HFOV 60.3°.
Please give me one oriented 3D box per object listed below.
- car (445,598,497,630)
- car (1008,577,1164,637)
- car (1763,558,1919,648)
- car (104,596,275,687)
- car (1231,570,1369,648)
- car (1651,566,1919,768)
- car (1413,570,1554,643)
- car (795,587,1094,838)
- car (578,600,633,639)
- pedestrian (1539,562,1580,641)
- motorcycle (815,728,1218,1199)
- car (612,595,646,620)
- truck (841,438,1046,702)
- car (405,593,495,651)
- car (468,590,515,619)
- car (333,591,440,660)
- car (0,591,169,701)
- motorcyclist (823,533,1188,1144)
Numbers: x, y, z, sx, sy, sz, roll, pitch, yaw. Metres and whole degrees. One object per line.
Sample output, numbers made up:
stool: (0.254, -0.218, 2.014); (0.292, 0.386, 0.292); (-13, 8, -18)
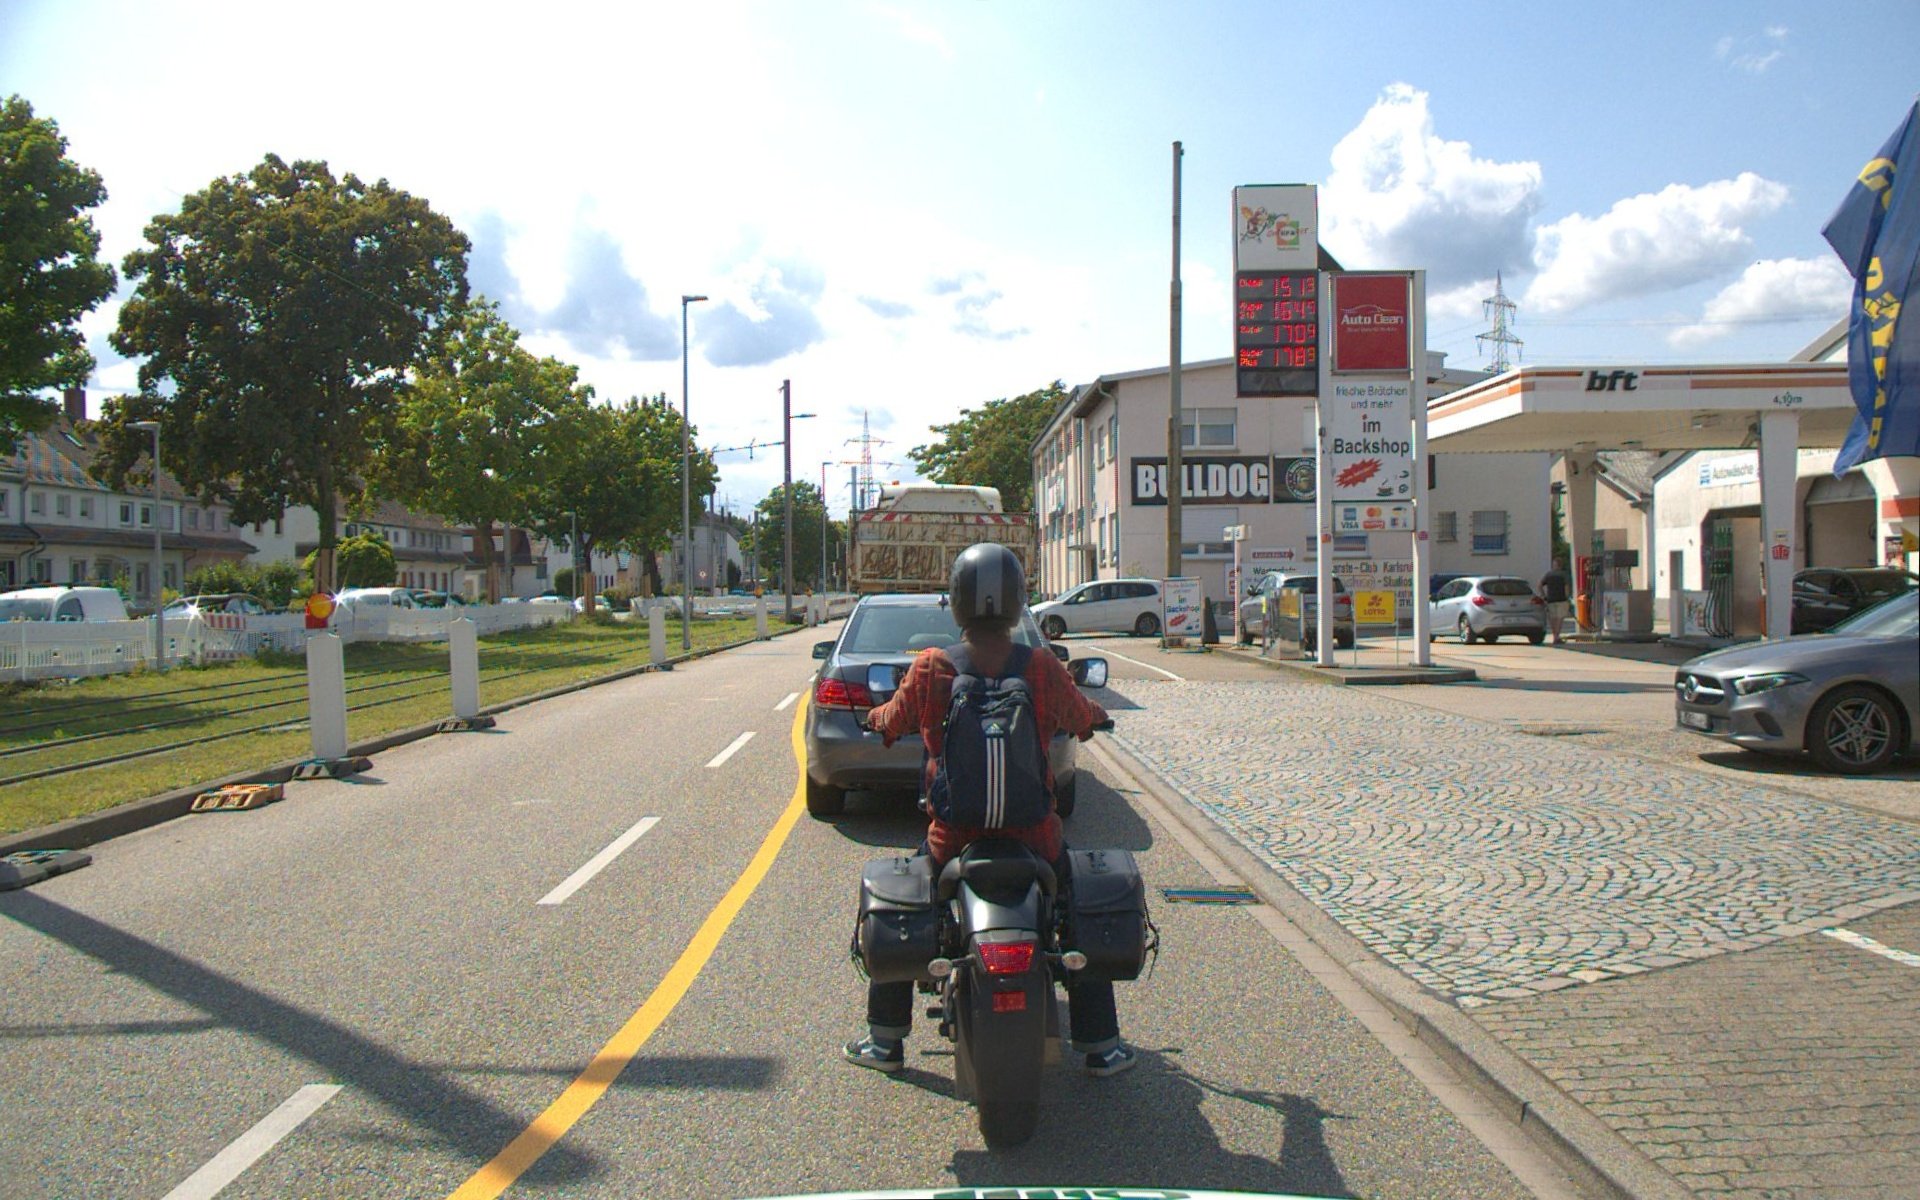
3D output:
car: (-28.303, 0.778, 95.834); (1.740, 1.753, 4.127); (-1, 0, -1)
car: (3.560, 0.185, 47.059); (4.152, 1.570, 1.669); (-1, 0, -9)
car: (16.614, 0.025, 30.321); (1.770, 1.529, 3.832); (-1, 0, -3)
car: (-16.677, 0.852, 36.026); (1.740, 1.805, 4.227); (-1, 0, -1)
car: (7.453, 0.176, 36.631); (1.636, 1.589, 4.236); (-1, 0, -8)
car: (7.794, 0.454, 12.792); (4.183, 1.440, 1.675); (-1, 0, 3)
car: (11.718, 0.120, 37.266); (1.770, 1.529, 3.831); (-1, 0, -3)
car: (-0.122, 0.667, 11.998); (1.786, 1.478, 3.999); (1, 0, -1)
car: (-17.059, 0.909, 79.685); (1.740, 1.753, 4.127); (-1, 0, -1)
pedestrian: (12.949, 0.031, 35.712); (0.696, 1.685, 0.546); (-1, 0, 35)
motorcycle: (0.119, 0.993, 5.323); (0.959, 0.913, 2.653); (-1, 0, -1)
car: (-24.968, 0.549, 124.852); (1.740, 1.753, 4.127); (-1, 0, -1)
truck: (-0.267, -0.425, 25.365); (2.585, 3.354, 8.055); (-1, 0, -1)
car: (-16.976, 0.698, 55.261); (1.740, 1.837, 4.127); (-1, 0, -1)
car: (-29.430, 0.275, 103.952); (1.740, 1.753, 4.127); (-1, 0, -1)
car: (-16.944, 0.713, 49.082); (1.740, 1.900, 4.127); (-1, 0, -1)
car: (-16.447, 0.781, 30.389); (1.740, 1.853, 4.363); (-1, 0, -1)
motorcyclist: (0.117, 0.639, 5.018); (0.959, 1.630, 1.087); (-1, 0, -1)
